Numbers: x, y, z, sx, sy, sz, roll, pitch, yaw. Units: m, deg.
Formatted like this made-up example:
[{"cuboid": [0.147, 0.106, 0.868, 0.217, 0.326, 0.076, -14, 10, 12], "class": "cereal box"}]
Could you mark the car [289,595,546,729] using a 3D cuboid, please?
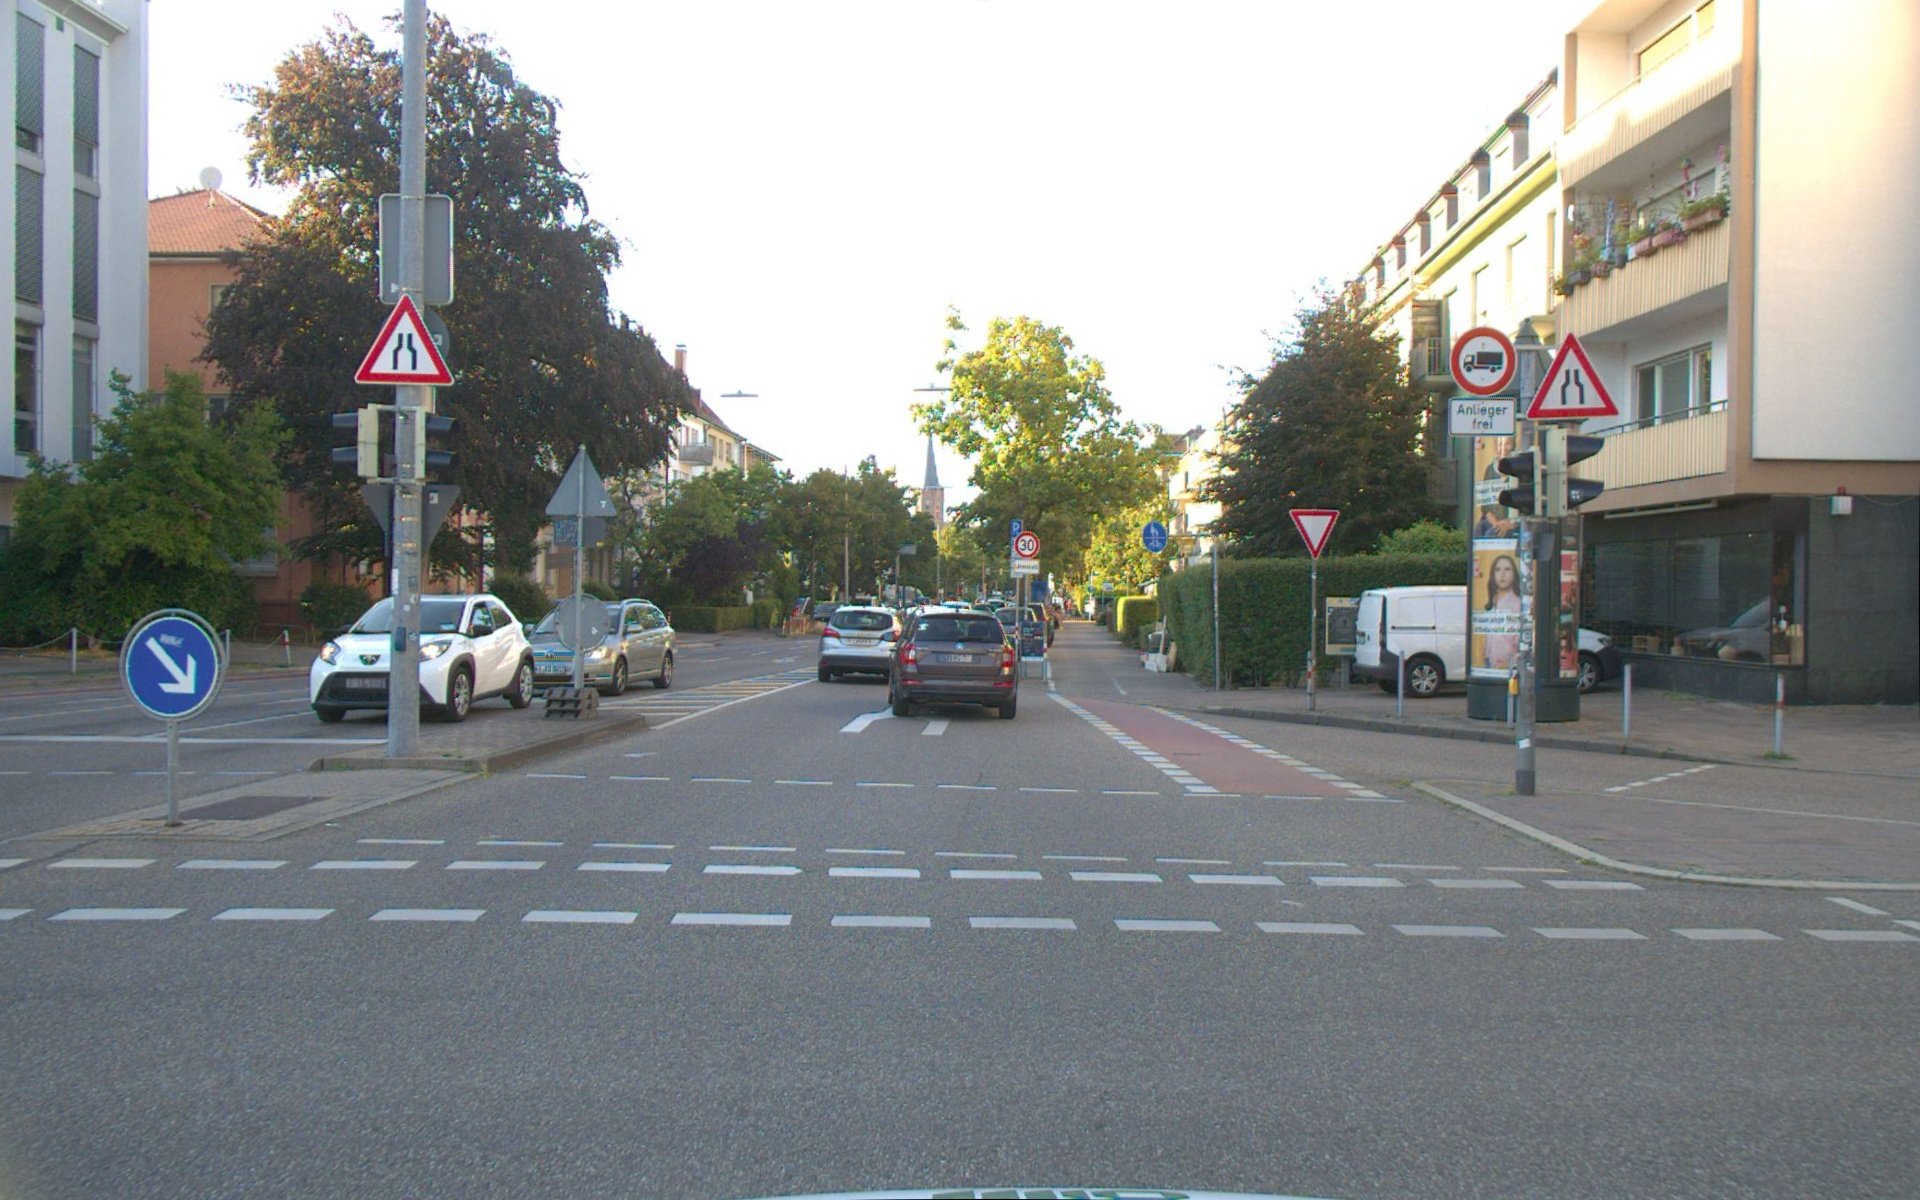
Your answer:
[{"cuboid": [-6.659, 0.699, 20.762, 1.789, 1.486, 3.903, 1, 0, 3], "class": "car"}]

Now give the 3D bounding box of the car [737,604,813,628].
[{"cuboid": [-11.605, 0.994, 103.434, 4.625, 1.386, 1.995, 0, 0, -10], "class": "car"}]

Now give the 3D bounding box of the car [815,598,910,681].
[{"cuboid": [-1.909, 0.739, 33.279, 1.694, 1.520, 3.950, 0, 0, -1], "class": "car"}]

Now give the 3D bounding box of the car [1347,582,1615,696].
[{"cuboid": [8.856, 0.637, 28.354, 4.003, 1.846, 1.861, 0, 0, 0], "class": "car"}]

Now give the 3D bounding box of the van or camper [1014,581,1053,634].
[{"cuboid": [3.995, 0.411, 89.121, 2.024, 2.722, 5.992, 0, -1, 3], "class": "van or camper"}]

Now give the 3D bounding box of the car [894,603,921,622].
[{"cuboid": [-4.194, 0.980, 132.010, 1.717, 1.445, 4.427, 1, 0, 4], "class": "car"}]

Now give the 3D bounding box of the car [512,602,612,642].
[{"cuboid": [-15.480, 0.852, 64.469, 3.426, 1.512, 1.815, 0, 0, -1], "class": "car"}]

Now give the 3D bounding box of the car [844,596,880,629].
[{"cuboid": [-6.010, 0.767, 101.880, 1.733, 1.952, 4.461, 0, 0, 3], "class": "car"}]

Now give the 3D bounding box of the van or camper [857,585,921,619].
[{"cuboid": [-8.401, 0.272, 196.720, 7.482, 3.942, 2.000, 1, 0, 1], "class": "van or camper"}]

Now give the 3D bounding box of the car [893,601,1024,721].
[{"cuboid": [-0.038, 0.804, 23.592, 1.694, 1.520, 3.950, 0, 0, -1], "class": "car"}]

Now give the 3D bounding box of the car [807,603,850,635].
[{"cuboid": [-6.810, 0.969, 85.934, 1.713, 1.529, 4.198, 1, 0, 3], "class": "car"}]

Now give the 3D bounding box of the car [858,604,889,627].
[{"cuboid": [-5.673, 0.995, 108.874, 1.681, 1.446, 3.788, 1, 0, 3], "class": "car"}]

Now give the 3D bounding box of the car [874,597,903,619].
[{"cuboid": [-5.135, 0.583, 119.593, 1.681, 1.524, 4.249, 1, 0, 3], "class": "car"}]

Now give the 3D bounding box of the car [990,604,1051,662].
[{"cuboid": [1.796, 0.933, 48.172, 1.696, 1.578, 3.647, 0, 0, 3], "class": "car"}]

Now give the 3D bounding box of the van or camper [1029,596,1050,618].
[{"cuboid": [7.671, 0.691, 158.605, 1.952, 2.049, 4.002, 0, 0, 3], "class": "van or camper"}]

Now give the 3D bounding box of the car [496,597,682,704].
[{"cuboid": [-5.890, 0.745, 26.839, 1.789, 1.541, 4.606, 0, 0, 3], "class": "car"}]

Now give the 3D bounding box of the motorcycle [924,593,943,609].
[{"cuboid": [-2.572, 0.105, 160.159, 0.759, 1.538, 2.002, 0, 0, -39], "class": "motorcycle"}]

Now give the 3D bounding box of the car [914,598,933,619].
[{"cuboid": [-3.280, 0.776, 149.845, 1.475, 1.788, 3.695, 0, 0, 3], "class": "car"}]

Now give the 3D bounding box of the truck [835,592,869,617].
[{"cuboid": [-9.558, 0.406, 146.946, 2.852, 2.130, 1.546, 1, 0, 2], "class": "truck"}]

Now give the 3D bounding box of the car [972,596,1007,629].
[{"cuboid": [1.568, 0.633, 85.895, 1.696, 1.680, 3.543, 0, 0, 3], "class": "car"}]

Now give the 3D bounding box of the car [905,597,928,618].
[{"cuboid": [-3.791, 0.615, 145.197, 1.713, 1.771, 3.592, 0, 0, 3], "class": "car"}]

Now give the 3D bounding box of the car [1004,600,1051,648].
[{"cuboid": [2.548, 0.857, 61.914, 1.696, 1.680, 4.293, 0, 0, 3], "class": "car"}]

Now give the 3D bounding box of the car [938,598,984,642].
[{"cuboid": [0.065, 0.789, 67.554, 1.696, 1.680, 3.543, 0, 0, 3], "class": "car"}]
